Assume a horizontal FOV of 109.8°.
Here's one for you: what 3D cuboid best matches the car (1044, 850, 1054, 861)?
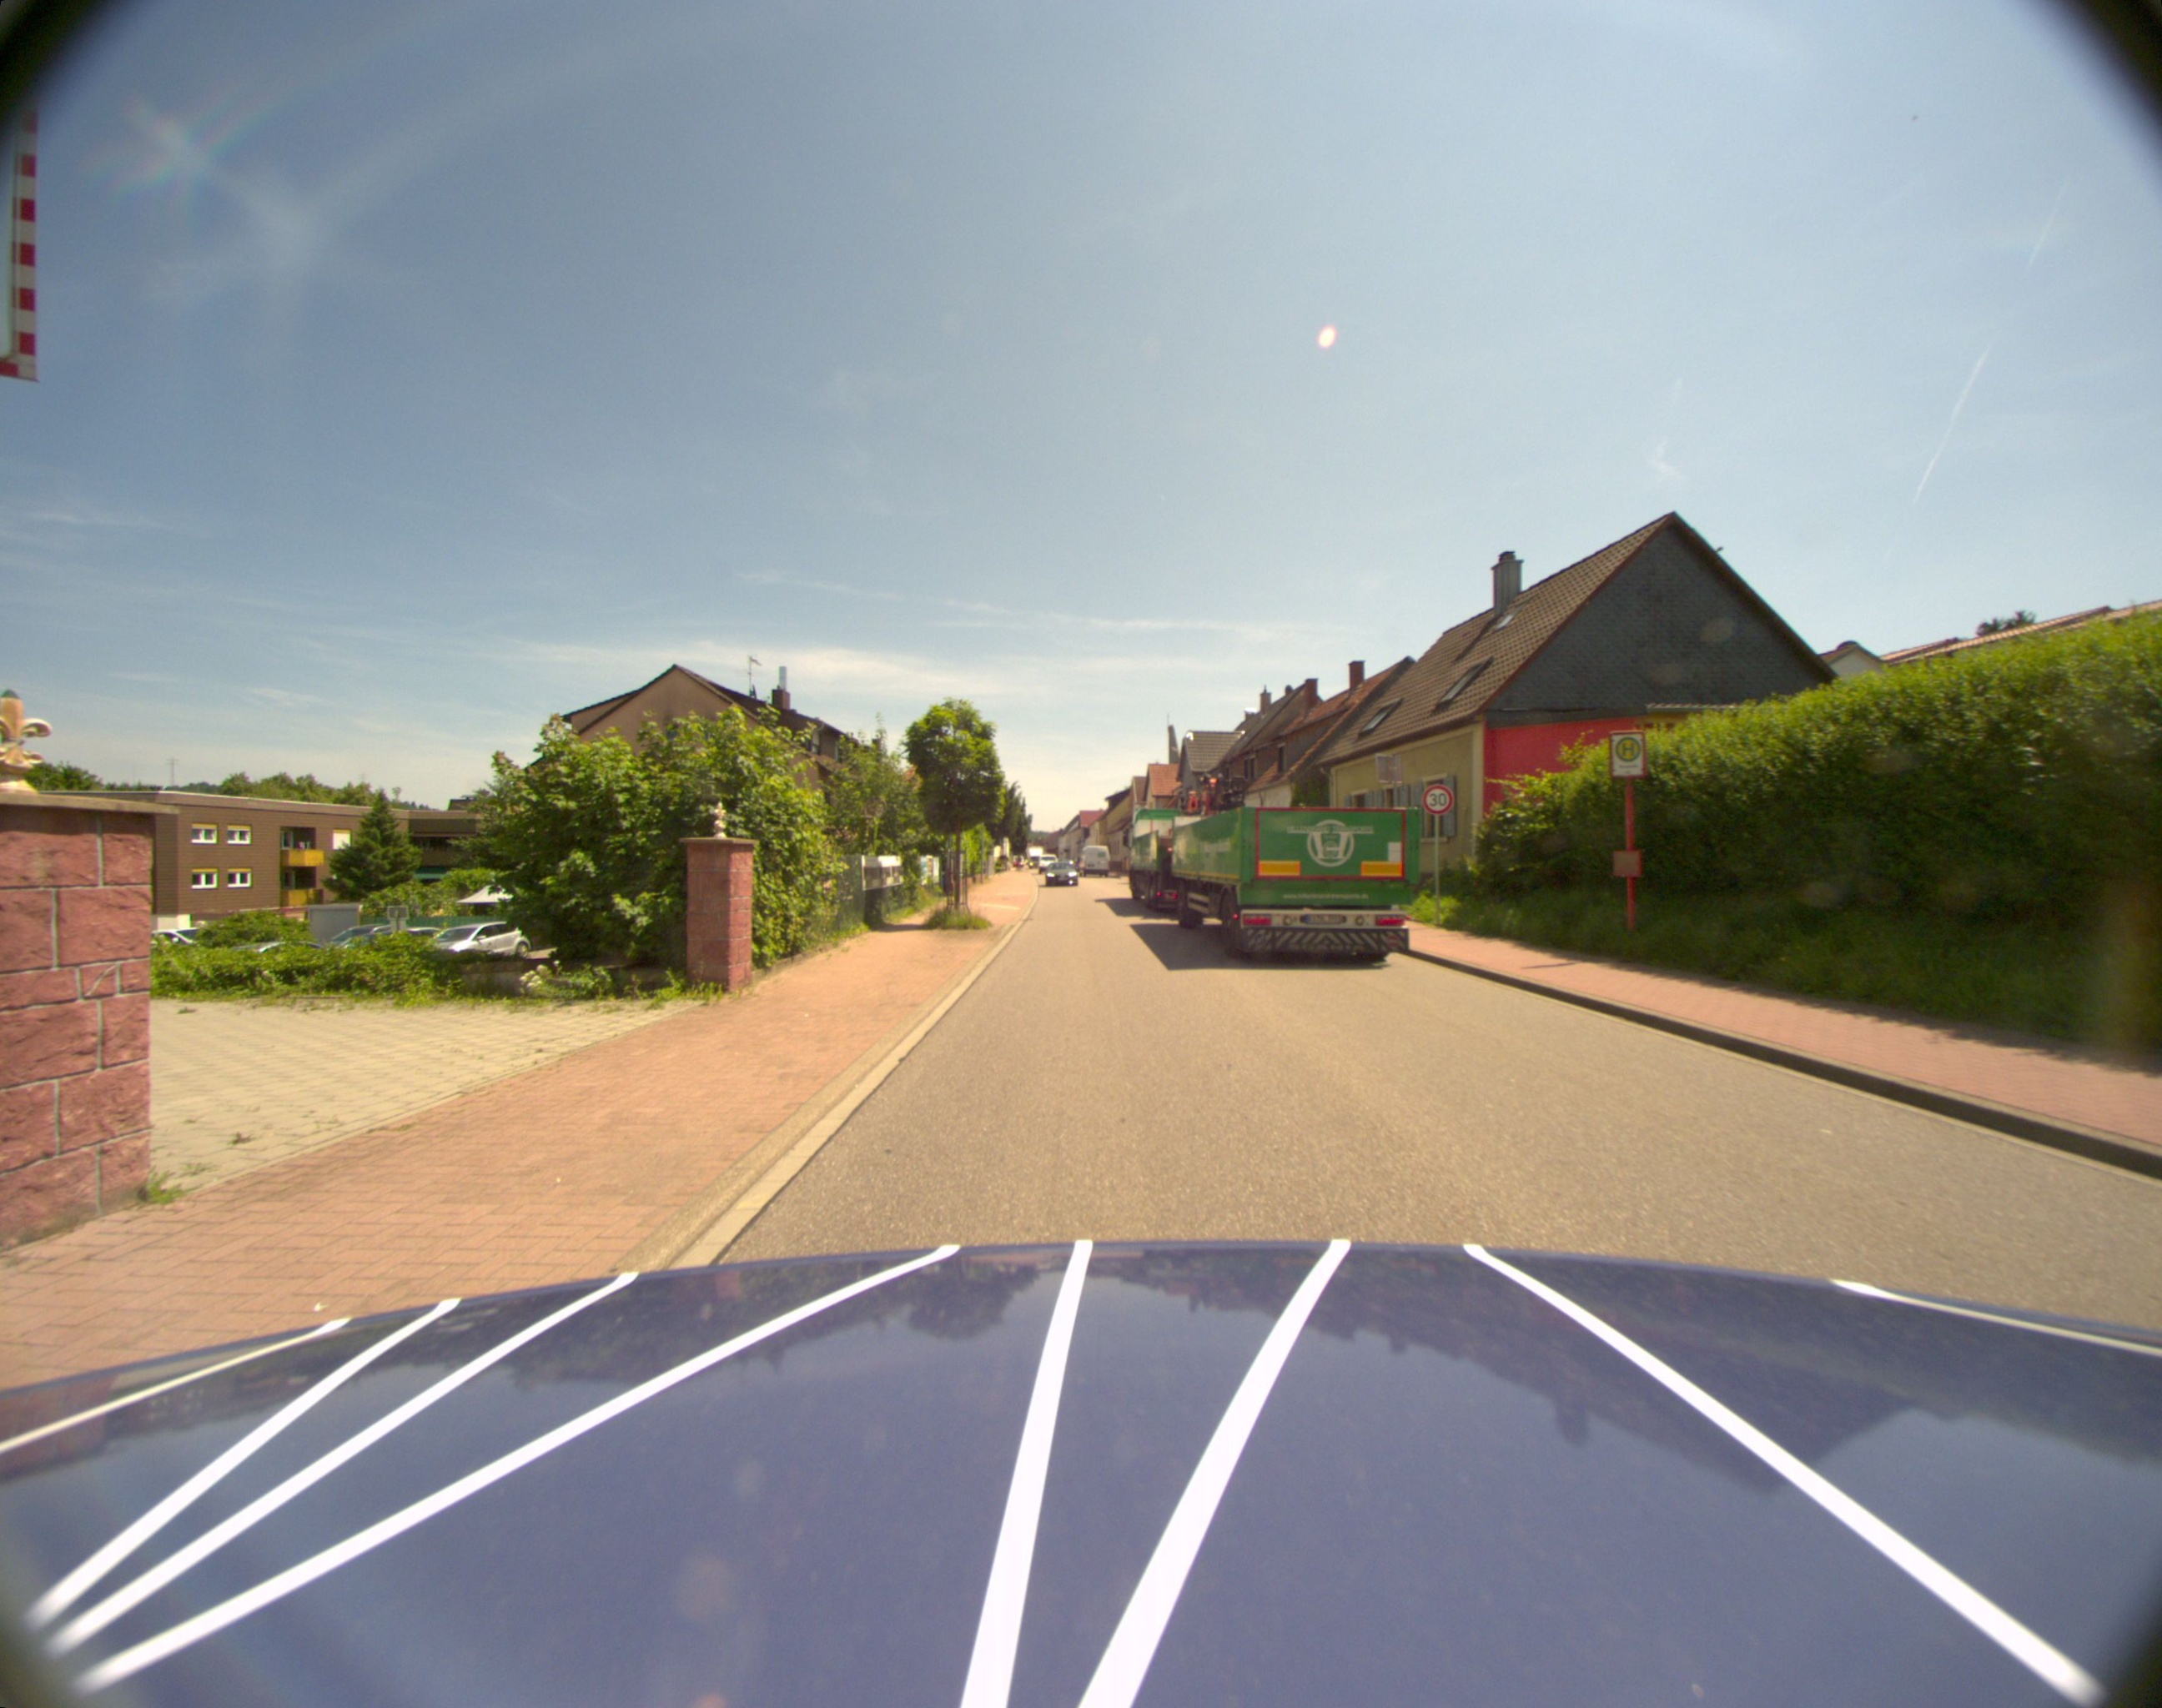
[{"bbox_3d":[-7.341,0.362,174.469,2.116,2.517,4.912,1,0,-6],"label":"car"}]

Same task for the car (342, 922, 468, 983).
[{"bbox_3d":[-23.753,3.421,26.851,1.326,1.465,3.290,-7,2,-1],"label":"car"}]

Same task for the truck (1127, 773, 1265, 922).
[{"bbox_3d":[3.156,-0.154,23.949,2.574,3.679,10.076,0,0,-1],"label":"truck"}]

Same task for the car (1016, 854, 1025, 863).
[{"bbox_3d":[-10.600,0.816,133.577,1.637,1.572,3.568,1,0,-4],"label":"car"}]

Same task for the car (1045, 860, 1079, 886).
[{"bbox_3d":[-1.131,1.036,43.363,1.706,1.346,3.998,-2,0,-4],"label":"car"}]

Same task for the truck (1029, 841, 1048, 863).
[{"bbox_3d":[-7.209,-0.333,126.564,2.899,3.516,12.948,-1,0,-4],"label":"truck"}]

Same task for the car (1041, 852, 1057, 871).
[{"bbox_3d":[-3.250,0.742,76.801,1.637,1.833,3.568,-1,0,-3],"label":"car"}]

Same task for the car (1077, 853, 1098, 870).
[{"bbox_3d":[0.606,0.720,74.896,1.650,1.445,4.398,-3,0,-5],"label":"car"}]

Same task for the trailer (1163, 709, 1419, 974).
[{"bbox_3d":[3.338,-0.159,14.659,2.536,3.627,8.461,0,0,0],"label":"trailer"}]

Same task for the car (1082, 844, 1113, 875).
[{"bbox_3d":[1.280,0.425,61.894,2.035,2.446,6.066,0,0,-3],"label":"car"}]

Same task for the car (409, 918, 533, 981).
[{"bbox_3d":[-20.407,3.138,25.582,1.326,1.465,3.290,-7,2,-1],"label":"car"}]

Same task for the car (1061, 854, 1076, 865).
[{"bbox_3d":[-1.955,0.848,115.546,1.879,1.593,4.429,1,0,-5],"label":"car"}]
